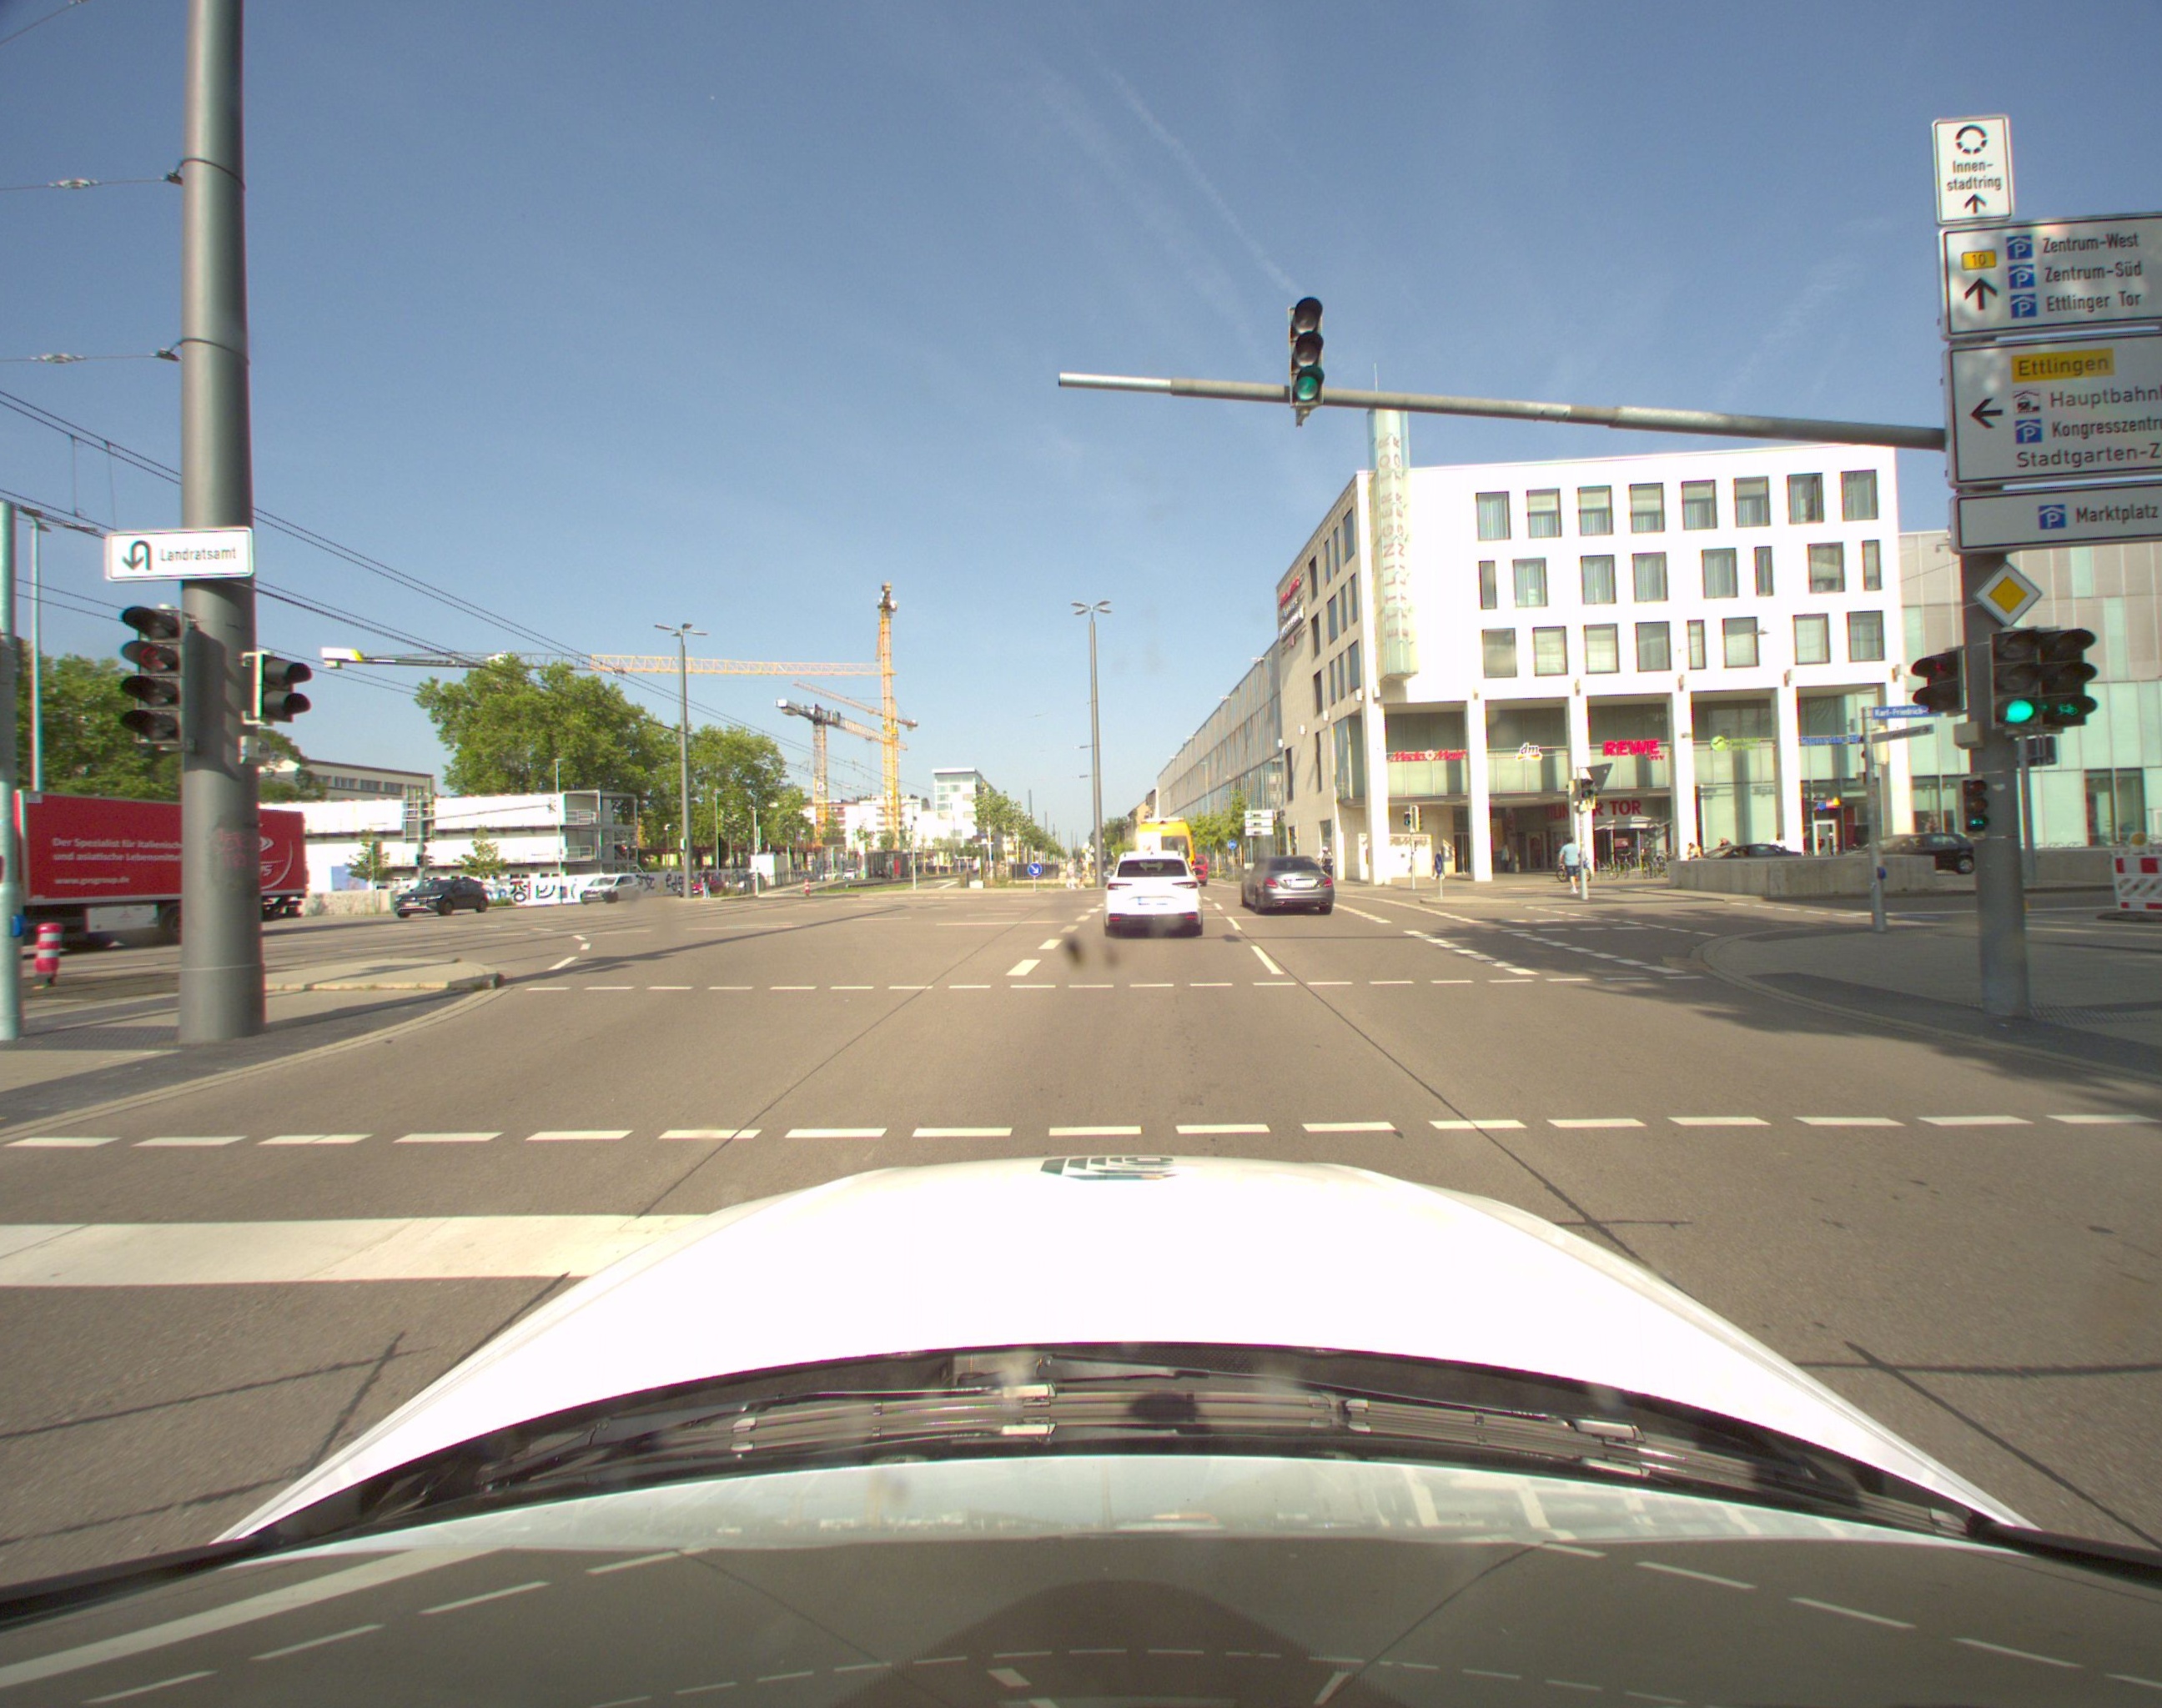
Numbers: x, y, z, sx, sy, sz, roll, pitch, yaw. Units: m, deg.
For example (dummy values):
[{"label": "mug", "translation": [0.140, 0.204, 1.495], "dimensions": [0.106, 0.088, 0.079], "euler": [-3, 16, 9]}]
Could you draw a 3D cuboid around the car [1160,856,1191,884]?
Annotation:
[{"label": "car", "translation": [6.452, 1.075, 56.030], "dimensions": [1.704, 1.863, 3.793], "euler": [0, -1, 0]}]

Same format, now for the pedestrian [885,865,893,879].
[{"label": "pedestrian", "translation": [-18.880, 1.754, 80.007], "dimensions": [0.679, 1.300, 0.592], "euler": [-2, 0, -4]}]

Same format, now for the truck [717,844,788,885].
[{"label": "truck", "translation": [-31.778, 0.968, 79.255], "dimensions": [3.011, 3.586, 8.891], "euler": [-2, 0, 1]}]

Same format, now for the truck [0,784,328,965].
[{"label": "truck", "translation": [-24.581, 0.506, 20.180], "dimensions": [2.968, 3.809, 10.399], "euler": [-2, 0, -6]}]

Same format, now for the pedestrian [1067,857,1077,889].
[{"label": "pedestrian", "translation": [-0.489, 1.012, 43.663], "dimensions": [0.466, 1.650, 0.777], "euler": [-1, -1, 0]}]

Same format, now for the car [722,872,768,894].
[{"label": "car", "translation": [-25.377, 2.198, 61.611], "dimensions": [1.638, 1.469, 4.401], "euler": [-2, 0, -1]}]

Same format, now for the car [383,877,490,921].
[{"label": "car", "translation": [-27.006, 1.843, 34.286], "dimensions": [1.638, 1.601, 3.990], "euler": [-2, 0, -7]}]

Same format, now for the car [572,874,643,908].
[{"label": "car", "translation": [-28.636, 2.192, 49.436], "dimensions": [1.610, 1.789, 4.518], "euler": [-2, 0, 0]}]

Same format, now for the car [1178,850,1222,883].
[{"label": "car", "translation": [7.065, 0.726, 48.745], "dimensions": [1.944, 1.850, 4.435], "euler": [-2, 0, 0]}]

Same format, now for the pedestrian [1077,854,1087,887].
[{"label": "pedestrian", "translation": [0.065, 0.834, 41.243], "dimensions": [0.466, 1.650, 0.777], "euler": [-1, -1, 0]}]

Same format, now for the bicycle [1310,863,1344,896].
[{"label": "bicycle", "translation": [8.812, 0.893, 29.235], "dimensions": [0.658, 1.117, 2.052], "euler": [-2, 0, 3]}]

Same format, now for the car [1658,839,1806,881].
[{"label": "car", "translation": [24.119, 0.229, 30.287], "dimensions": [3.875, 1.366, 1.879], "euler": [-2, -1, 4]}]

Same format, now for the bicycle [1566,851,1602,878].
[{"label": "bicycle", "translation": [23.091, 0.467, 37.440], "dimensions": [0.499, 1.199, 1.792], "euler": [-2, -1, -1]}]

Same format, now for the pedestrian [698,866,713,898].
[{"label": "pedestrian", "translation": [-20.254, 1.517, 43.909], "dimensions": [0.367, 1.676, 0.643], "euler": [-2, -1, 17]}]

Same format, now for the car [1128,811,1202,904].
[{"label": "car", "translation": [2.762, 0.101, 27.943], "dimensions": [2.013, 2.796, 5.402], "euler": [-2, 0, 1]}]

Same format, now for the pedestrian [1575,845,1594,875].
[{"label": "pedestrian", "translation": [23.346, 0.277, 37.758], "dimensions": [0.510, 1.356, 0.546], "euler": [-2, -1, -7]}]

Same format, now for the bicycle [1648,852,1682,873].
[{"label": "bicycle", "translation": [27.249, 0.389, 38.028], "dimensions": [0.456, 0.956, 1.860], "euler": [-2, -1, 9]}]

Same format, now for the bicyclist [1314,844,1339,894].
[{"label": "bicyclist", "translation": [8.799, 0.521, 29.186], "dimensions": [0.648, 1.749, 0.770], "euler": [-2, -1, 2]}]

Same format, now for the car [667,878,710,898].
[{"label": "car", "translation": [-30.546, 2.655, 63.511], "dimensions": [1.594, 1.347, 4.414], "euler": [-2, 0, -6]}]

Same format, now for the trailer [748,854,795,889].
[{"label": "trailer", "translation": [-25.582, 1.399, 67.517], "dimensions": [2.038, 2.781, 5.020], "euler": [0, -1, 0]}]

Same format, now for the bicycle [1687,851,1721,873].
[{"label": "bicycle", "translation": [28.311, 0.369, 37.036], "dimensions": [0.456, 0.956, 1.674], "euler": [-2, -1, 9]}]

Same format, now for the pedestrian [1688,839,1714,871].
[{"label": "pedestrian", "translation": [28.933, 0.056, 38.017], "dimensions": [0.604, 1.485, 0.731], "euler": [-1, -1, -30]}]

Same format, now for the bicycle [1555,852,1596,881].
[{"label": "bicycle", "translation": [22.407, 0.561, 36.935], "dimensions": [0.610, 1.237, 2.071], "euler": [-2, -1, 2]}]

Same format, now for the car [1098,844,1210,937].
[{"label": "car", "translation": [1.331, 0.655, 16.314], "dimensions": [1.864, 1.574, 4.000], "euler": [-2, 0, 0]}]

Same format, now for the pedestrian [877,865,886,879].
[{"label": "pedestrian", "translation": [-18.877, 1.670, 77.169], "dimensions": [0.679, 1.300, 0.592], "euler": [-2, 0, -4]}]

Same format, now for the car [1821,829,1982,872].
[{"label": "car", "translation": [30.180, -0.111, 30.071], "dimensions": [3.883, 1.402, 1.881], "euler": [-2, -1, 4]}]

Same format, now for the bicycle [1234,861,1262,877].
[{"label": "bicycle", "translation": [11.604, 1.043, 56.751], "dimensions": [1.832, 1.113, 0.687], "euler": [0, -1, 1]}]

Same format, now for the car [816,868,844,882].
[{"label": "car", "translation": [-30.246, 2.477, 98.338], "dimensions": [1.786, 1.582, 4.616], "euler": [-2, -1, 1]}]

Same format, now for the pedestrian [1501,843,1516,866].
[{"label": "pedestrian", "translation": [25.888, 0.033, 49.336], "dimensions": [0.562, 1.384, 0.492], "euler": [-2, -1, -5]}]

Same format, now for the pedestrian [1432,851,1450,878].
[{"label": "pedestrian", "translation": [19.885, 0.572, 45.031], "dimensions": [0.705, 1.487, 0.605], "euler": [-2, -1, 2]}]

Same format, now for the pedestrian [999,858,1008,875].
[{"label": "pedestrian", "translation": [-7.543, 1.228, 79.361], "dimensions": [0.733, 1.619, 0.710], "euler": [-2, -1, -1]}]

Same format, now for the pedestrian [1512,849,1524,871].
[{"label": "pedestrian", "translation": [25.884, 0.355, 48.247], "dimensions": [0.390, 1.341, 0.455], "euler": [-2, -1, 0]}]

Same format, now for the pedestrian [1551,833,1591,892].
[{"label": "pedestrian", "translation": [14.746, 0.252, 24.542], "dimensions": [0.639, 1.711, 0.992], "euler": [-2, -1, 8]}]

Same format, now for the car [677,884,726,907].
[{"label": "car", "translation": [-25.676, 2.812, 55.230], "dimensions": [1.717, 1.361, 3.693], "euler": [-1, -1, -4]}]

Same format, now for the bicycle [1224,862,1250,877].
[{"label": "bicycle", "translation": [11.660, 1.155, 60.927], "dimensions": [1.871, 1.109, 0.490], "euler": [-2, -1, 1]}]

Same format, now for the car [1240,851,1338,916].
[{"label": "car", "translation": [5.171, 0.685, 20.764], "dimensions": [1.752, 1.436, 4.121], "euler": [-2, 0, 5]}]

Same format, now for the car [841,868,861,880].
[{"label": "car", "translation": [-30.119, 2.641, 106.855], "dimensions": [1.591, 1.463, 3.433], "euler": [-2, -1, 0]}]

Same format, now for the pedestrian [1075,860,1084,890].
[{"label": "pedestrian", "translation": [-0.098, 1.147, 44.692], "dimensions": [0.466, 1.650, 0.777], "euler": [-1, -1, 0]}]

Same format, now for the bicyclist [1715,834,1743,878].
[{"label": "bicyclist", "translation": [26.472, 0.082, 33.260], "dimensions": [0.632, 1.738, 0.582], "euler": [-2, -1, 0]}]
